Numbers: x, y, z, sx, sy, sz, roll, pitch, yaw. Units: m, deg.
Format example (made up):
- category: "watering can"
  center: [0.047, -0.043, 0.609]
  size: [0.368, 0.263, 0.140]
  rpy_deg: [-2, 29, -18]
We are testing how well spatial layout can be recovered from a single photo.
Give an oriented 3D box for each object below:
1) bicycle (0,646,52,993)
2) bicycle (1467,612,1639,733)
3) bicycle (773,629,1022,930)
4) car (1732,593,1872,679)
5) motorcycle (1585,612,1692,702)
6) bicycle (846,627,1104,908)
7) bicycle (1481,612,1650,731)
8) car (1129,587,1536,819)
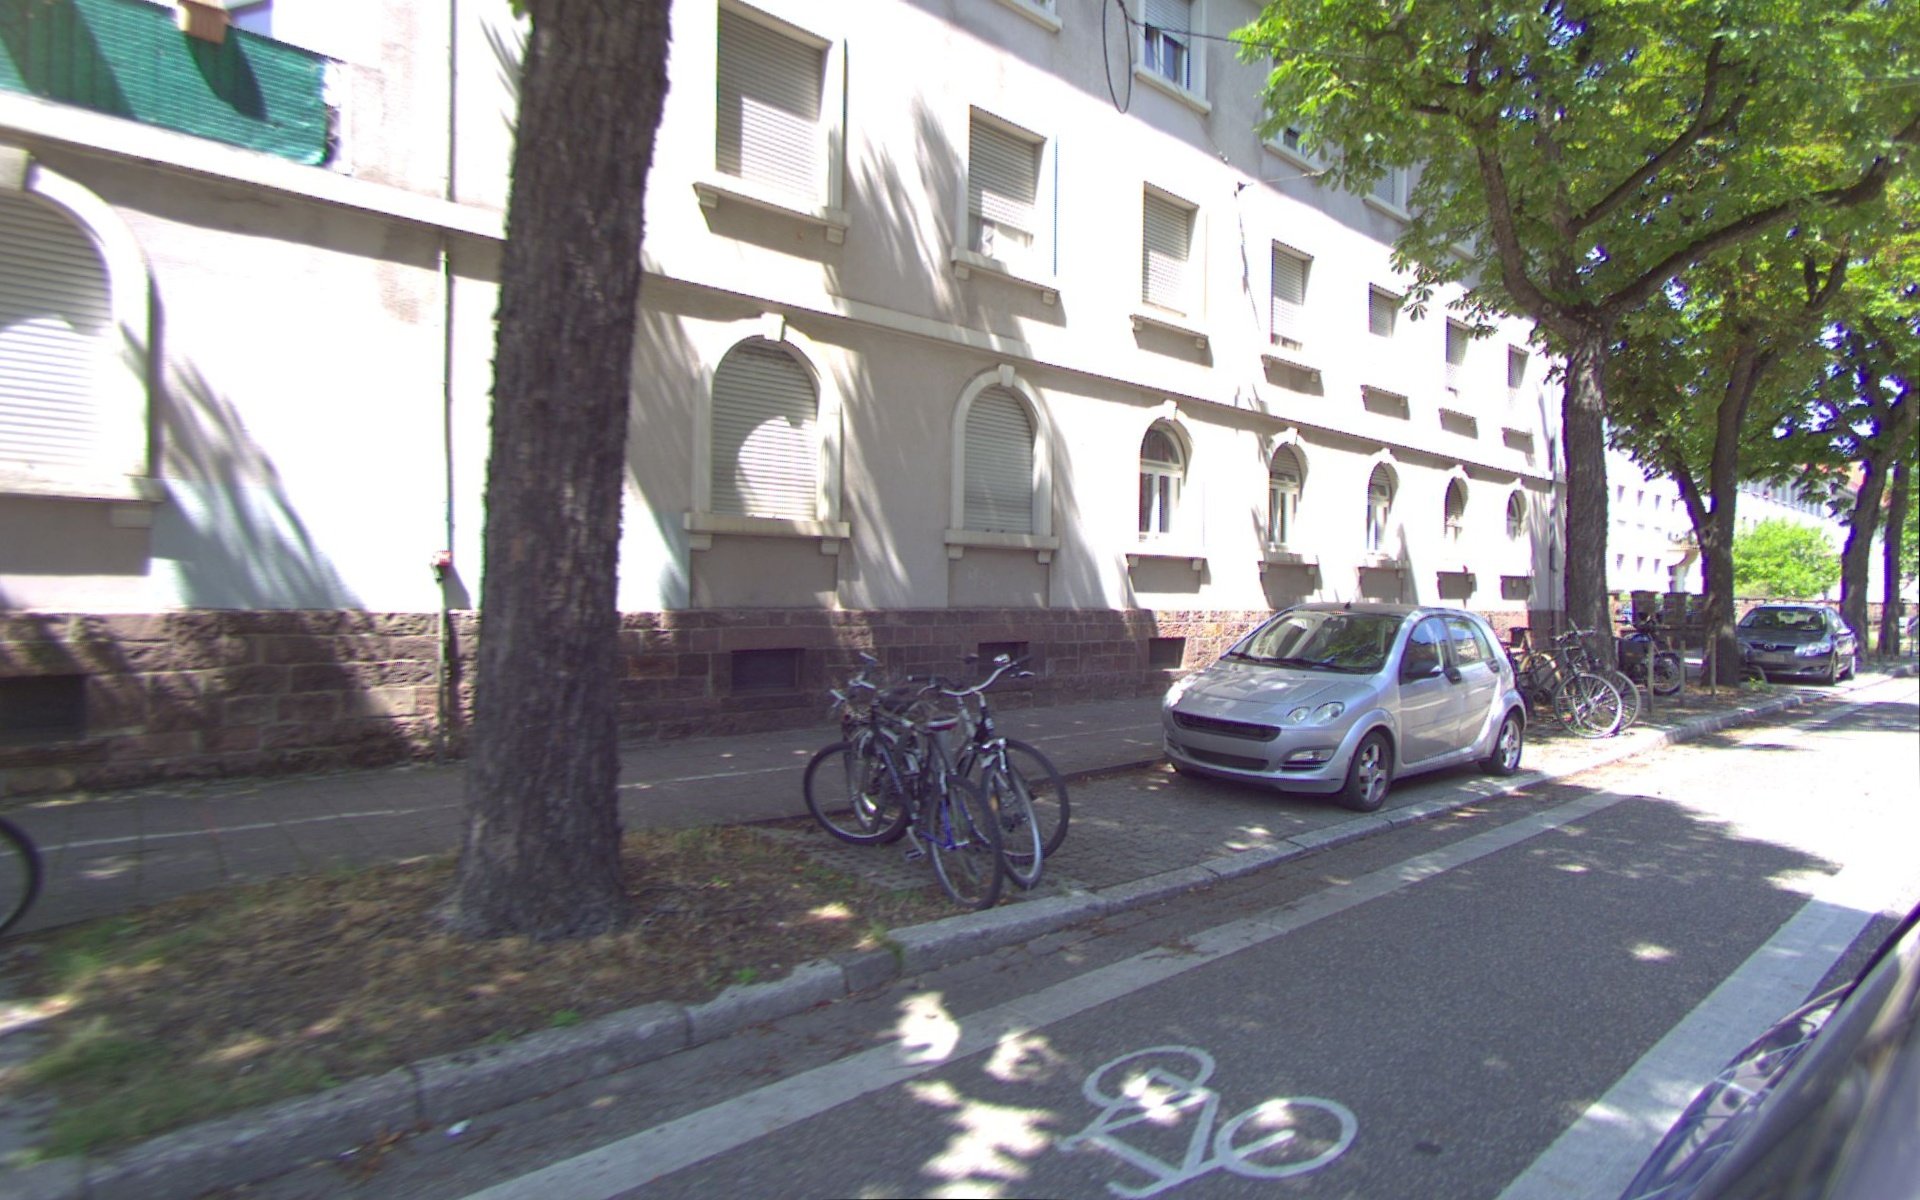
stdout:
- category: "bicycle"
  center: [-3.842, 0.791, 3.074]
  size: [0.281, 1.215, 1.611]
  rpy_deg: [0, 0, 29]
- category: "bicycle"
  center: [6.444, 0.751, 11.077]
  size: [0.299, 1.215, 1.623]
  rpy_deg: [0, 0, -38]
- category: "bicycle"
  center: [-0.424, 0.799, 5.327]
  size: [0.436, 1.215, 2.042]
  rpy_deg: [0, 0, -30]
- category: "car"
  center: [16.882, 0.639, 20.237]
  size: [3.930, 1.564, 1.538]
  rpy_deg: [0, 0, -41]
- category: "motorcycle"
  center: [10.129, 0.815, 15.075]
  size: [2.177, 1.212, 0.623]
  rpy_deg: [-1, 0, -36]
- category: "bicycle"
  center: [-0.016, 0.793, 5.615]
  size: [0.436, 1.215, 2.042]
  rpy_deg: [0, 0, -30]
- category: "bicycle"
  center: [6.713, 0.752, 11.298]
  size: [0.299, 1.215, 1.623]
  rpy_deg: [0, 0, -38]
- category: "car"
  center: [3.185, 0.682, 8.354]
  size: [3.567, 1.470, 1.595]
  rpy_deg: [1, 1, -41]
